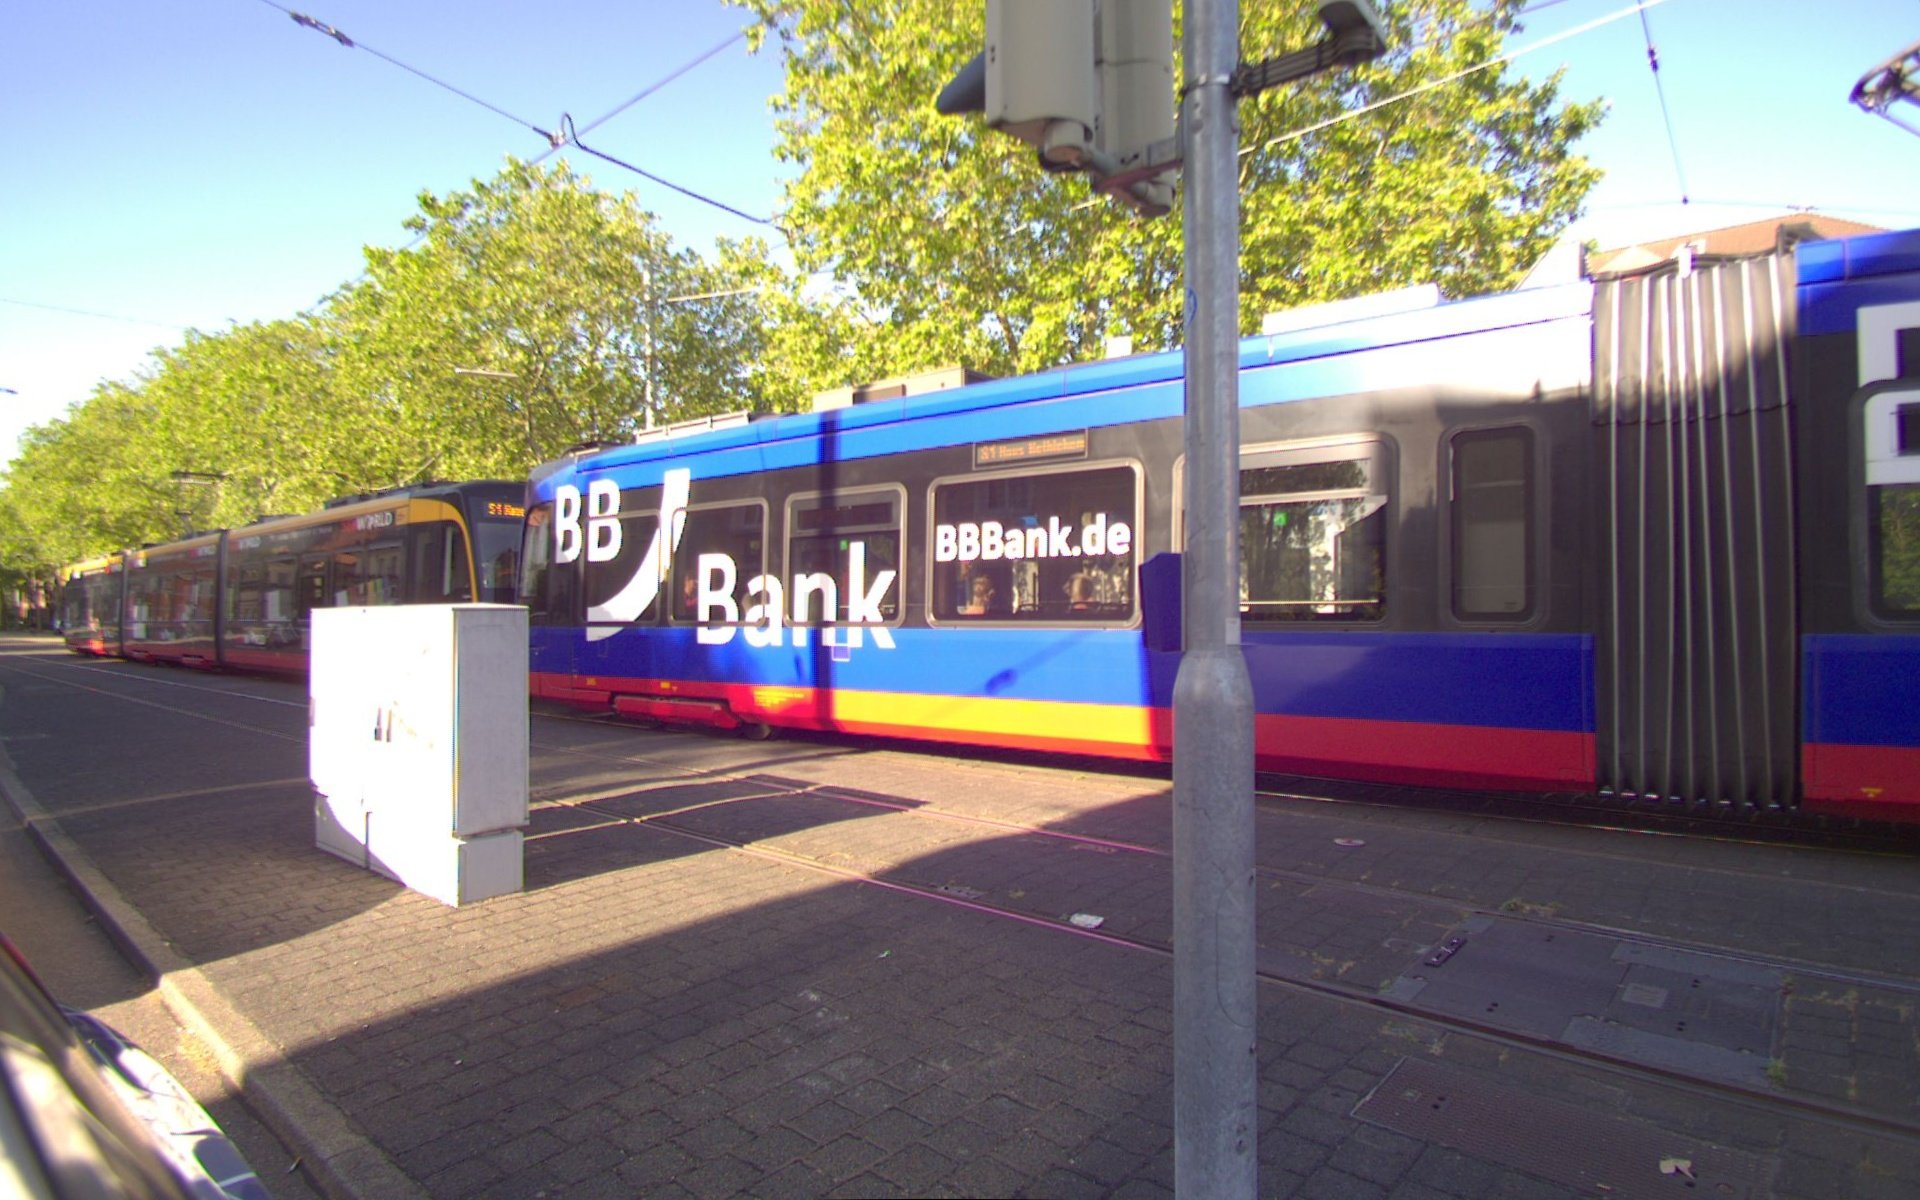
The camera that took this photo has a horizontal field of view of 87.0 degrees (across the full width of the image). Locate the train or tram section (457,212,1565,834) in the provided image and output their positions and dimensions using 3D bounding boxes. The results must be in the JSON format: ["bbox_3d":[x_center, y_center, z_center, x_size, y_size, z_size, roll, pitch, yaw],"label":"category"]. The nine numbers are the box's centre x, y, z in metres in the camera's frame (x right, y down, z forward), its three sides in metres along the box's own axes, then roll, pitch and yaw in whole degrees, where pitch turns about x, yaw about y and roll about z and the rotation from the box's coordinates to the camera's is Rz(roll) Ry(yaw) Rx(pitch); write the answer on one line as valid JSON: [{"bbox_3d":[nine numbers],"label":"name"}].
[{"bbox_3d":[-0.766,-0.349,10.742,12.091,3.640,3.027,-1,-1,36],"label":"train or tram section"}]

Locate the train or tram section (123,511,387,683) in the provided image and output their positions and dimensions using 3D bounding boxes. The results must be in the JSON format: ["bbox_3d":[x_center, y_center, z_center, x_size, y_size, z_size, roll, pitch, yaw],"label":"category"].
[{"bbox_3d":[-18.887,0.041,26.577,11.946,3.640,3.023,-1,-2,42],"label":"train or tram section"}]

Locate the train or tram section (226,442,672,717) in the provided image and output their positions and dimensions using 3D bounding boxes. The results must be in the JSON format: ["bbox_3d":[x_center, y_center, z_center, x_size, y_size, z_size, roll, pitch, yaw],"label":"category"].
[{"bbox_3d":[-9.971,-0.158,18.514,12.109,3.640,3.023,-1,-2,41],"label":"train or tram section"}]

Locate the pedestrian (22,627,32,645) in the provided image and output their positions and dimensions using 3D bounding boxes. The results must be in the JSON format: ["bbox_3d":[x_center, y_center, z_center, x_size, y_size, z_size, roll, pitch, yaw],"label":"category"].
[{"bbox_3d":[-85.376,3.271,92.602,0.677,1.654,0.570,-1,-2,43],"label":"pedestrian"}]

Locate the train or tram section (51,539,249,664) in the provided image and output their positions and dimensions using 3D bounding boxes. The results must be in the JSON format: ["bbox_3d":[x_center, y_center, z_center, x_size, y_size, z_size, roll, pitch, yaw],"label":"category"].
[{"bbox_3d":[-28.136,0.172,34.783,12.882,3.640,3.023,-1,-2,41],"label":"train or tram section"}]

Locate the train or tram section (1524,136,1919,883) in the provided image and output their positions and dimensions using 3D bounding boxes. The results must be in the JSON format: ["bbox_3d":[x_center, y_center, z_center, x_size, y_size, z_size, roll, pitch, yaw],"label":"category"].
[{"bbox_3d":[9.329,-0.497,3.819,12.459,3.640,3.032,-1,-1,32],"label":"train or tram section"}]

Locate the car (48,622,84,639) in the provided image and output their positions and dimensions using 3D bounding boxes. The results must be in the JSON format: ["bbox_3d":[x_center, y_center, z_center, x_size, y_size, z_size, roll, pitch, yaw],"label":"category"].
[{"bbox_3d":[-85.157,2.886,96.391,3.995,1.563,1.859,-1,-1,38],"label":"car"}]
